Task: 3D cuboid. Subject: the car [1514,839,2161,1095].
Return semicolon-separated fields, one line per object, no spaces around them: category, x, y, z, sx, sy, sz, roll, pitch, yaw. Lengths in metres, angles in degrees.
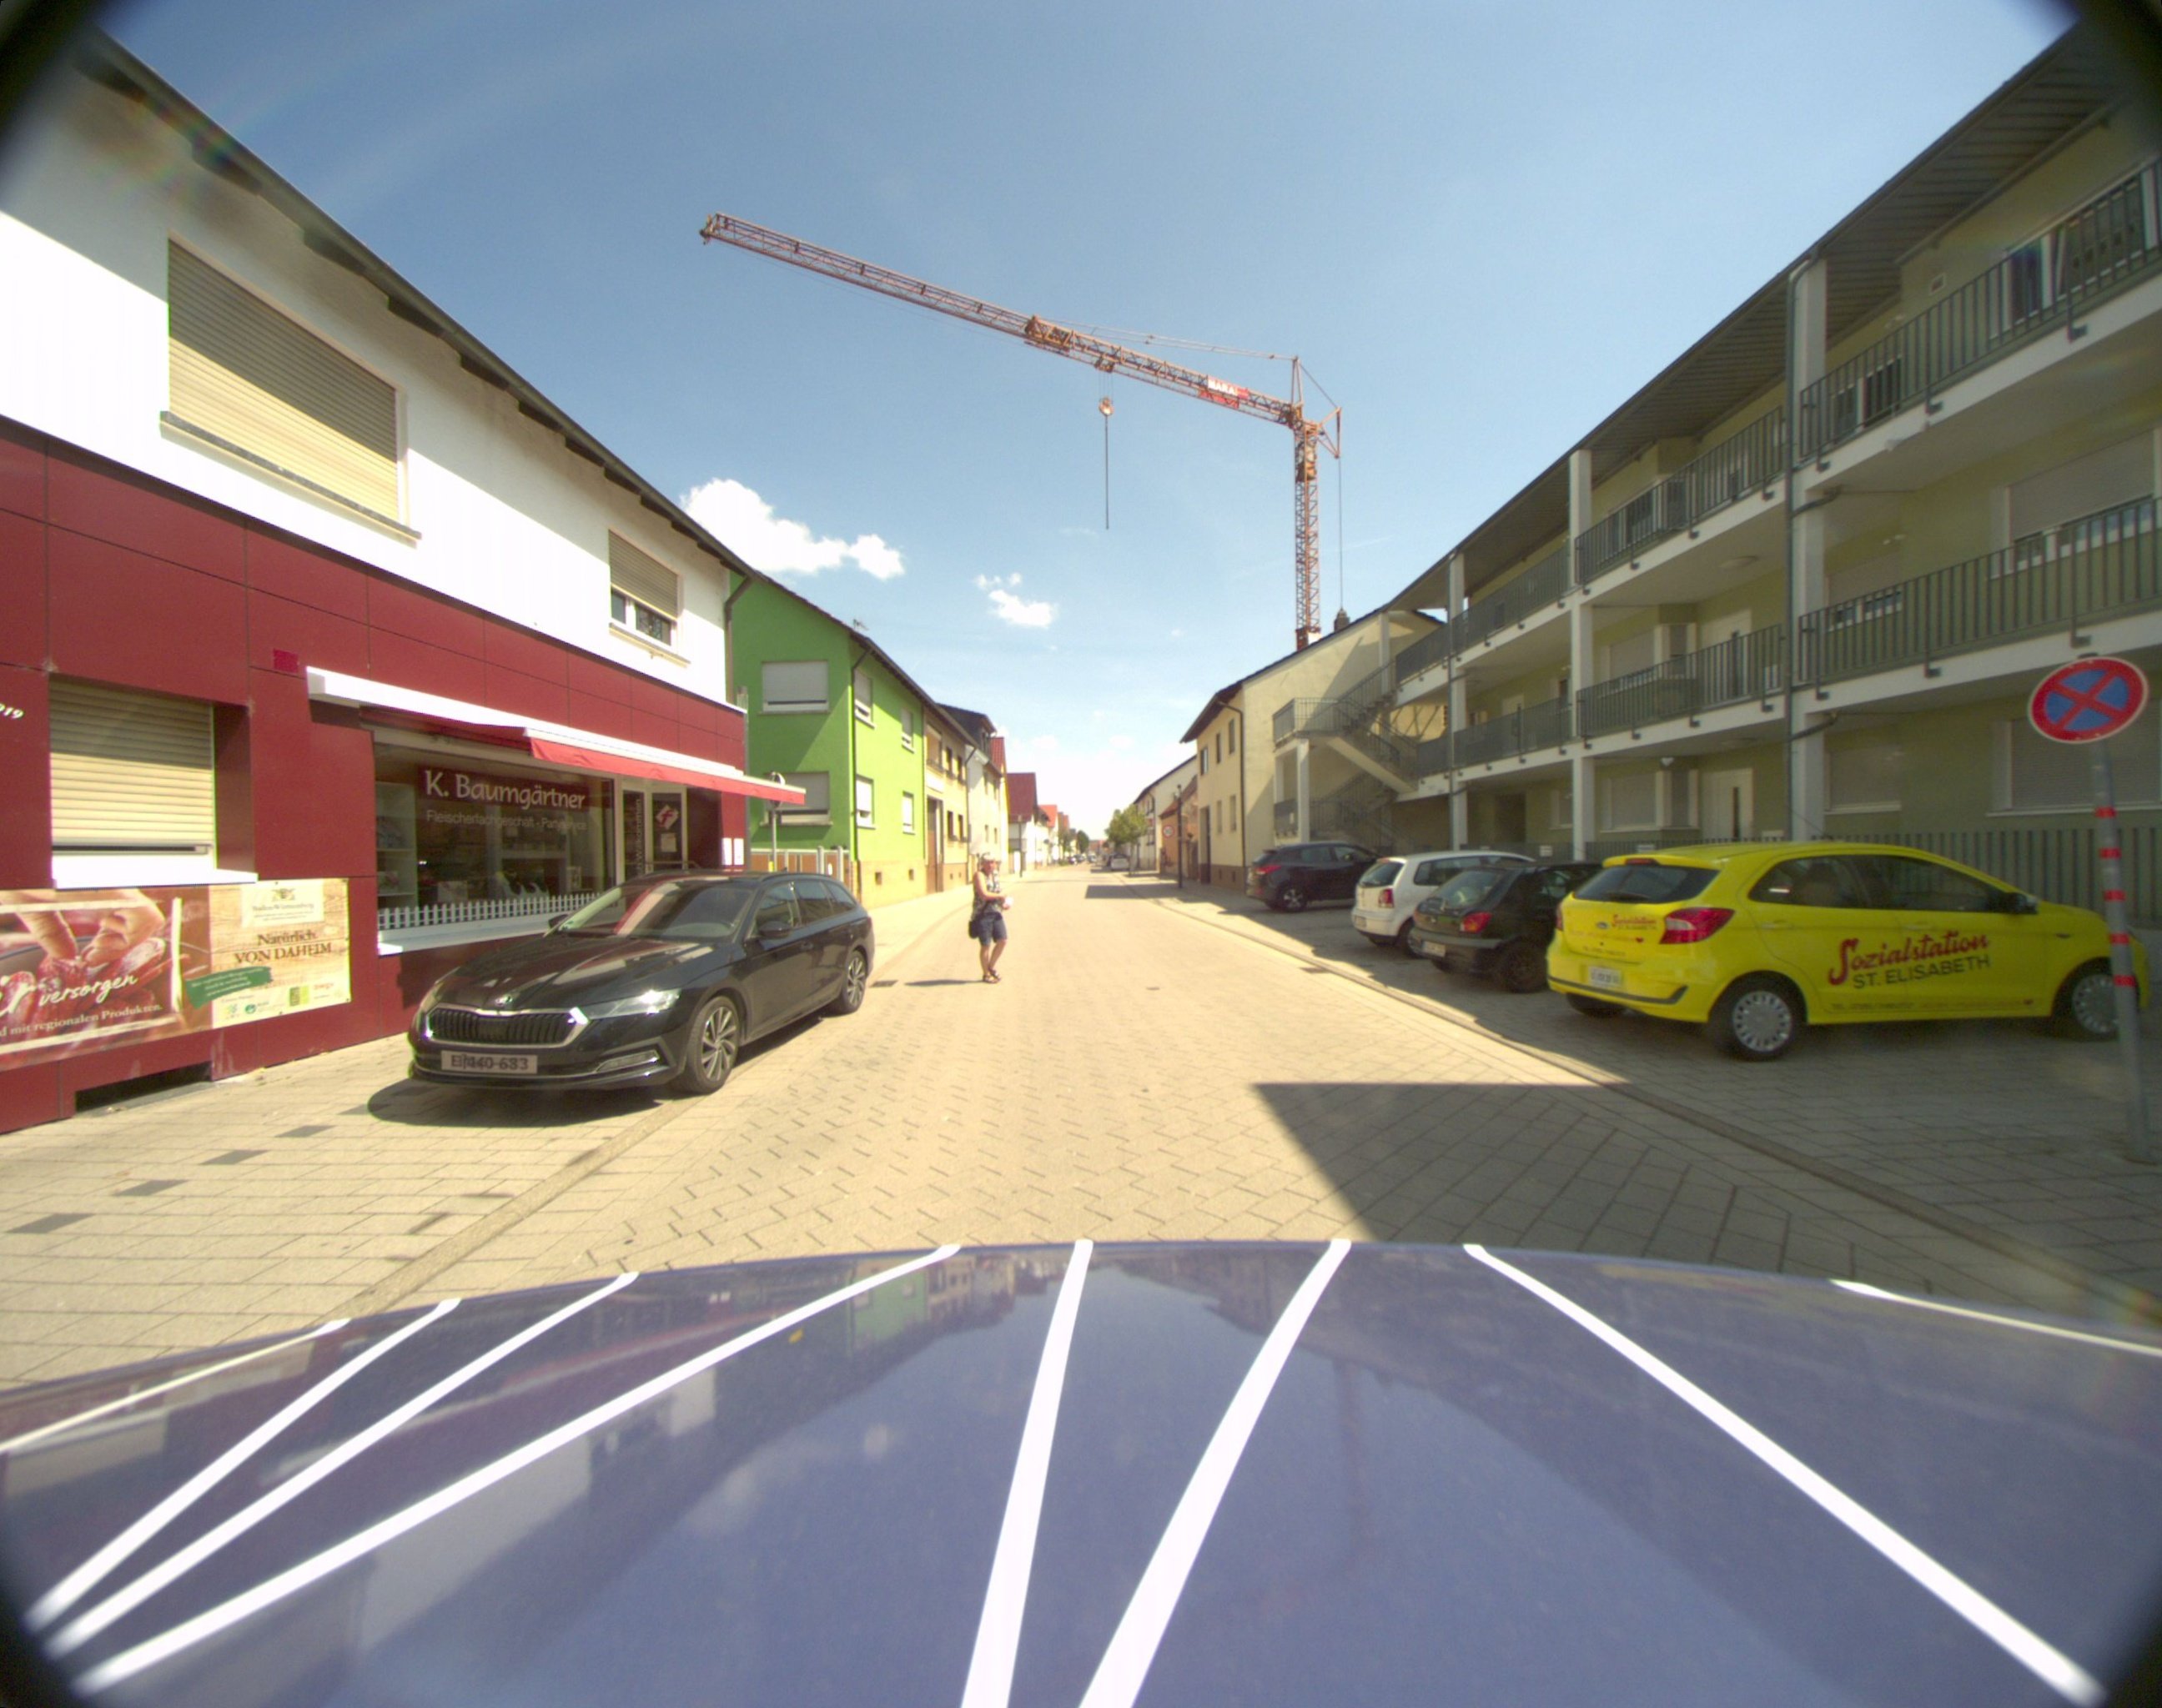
car;5.790;0.760;6.037;3.702;1.516;1.672;-3;0;-3

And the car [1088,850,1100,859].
car;2.275;0.063;133.836;1.958;1.521;4.000;-1;0;2

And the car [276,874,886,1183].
car;-3.288;0.985;6.355;1.862;1.450;4.587;1;1;4

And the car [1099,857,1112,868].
car;3.403;1.165;105.788;1.752;1.557;3.954;-1;0;0

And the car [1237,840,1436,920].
car;6.178;0.609;18.728;4.229;1.649;1.784;-3;1;1

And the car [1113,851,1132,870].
car;3.653;0.556;67.176;1.576;1.552;2.822;-3;1;3

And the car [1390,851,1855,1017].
car;5.877;0.821;8.618;3.997;1.433;1.691;-4;1;1

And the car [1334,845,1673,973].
car;5.982;0.740;11.137;3.910;1.494;1.751;-4;0;2

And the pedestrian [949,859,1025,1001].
pedestrian;-1.175;0.900;9.377;0.749;1.630;0.731;-3;1;-16

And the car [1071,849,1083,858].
car;-0.650;-0.136;122.506;1.726;1.420;3.818;-1;0;2
